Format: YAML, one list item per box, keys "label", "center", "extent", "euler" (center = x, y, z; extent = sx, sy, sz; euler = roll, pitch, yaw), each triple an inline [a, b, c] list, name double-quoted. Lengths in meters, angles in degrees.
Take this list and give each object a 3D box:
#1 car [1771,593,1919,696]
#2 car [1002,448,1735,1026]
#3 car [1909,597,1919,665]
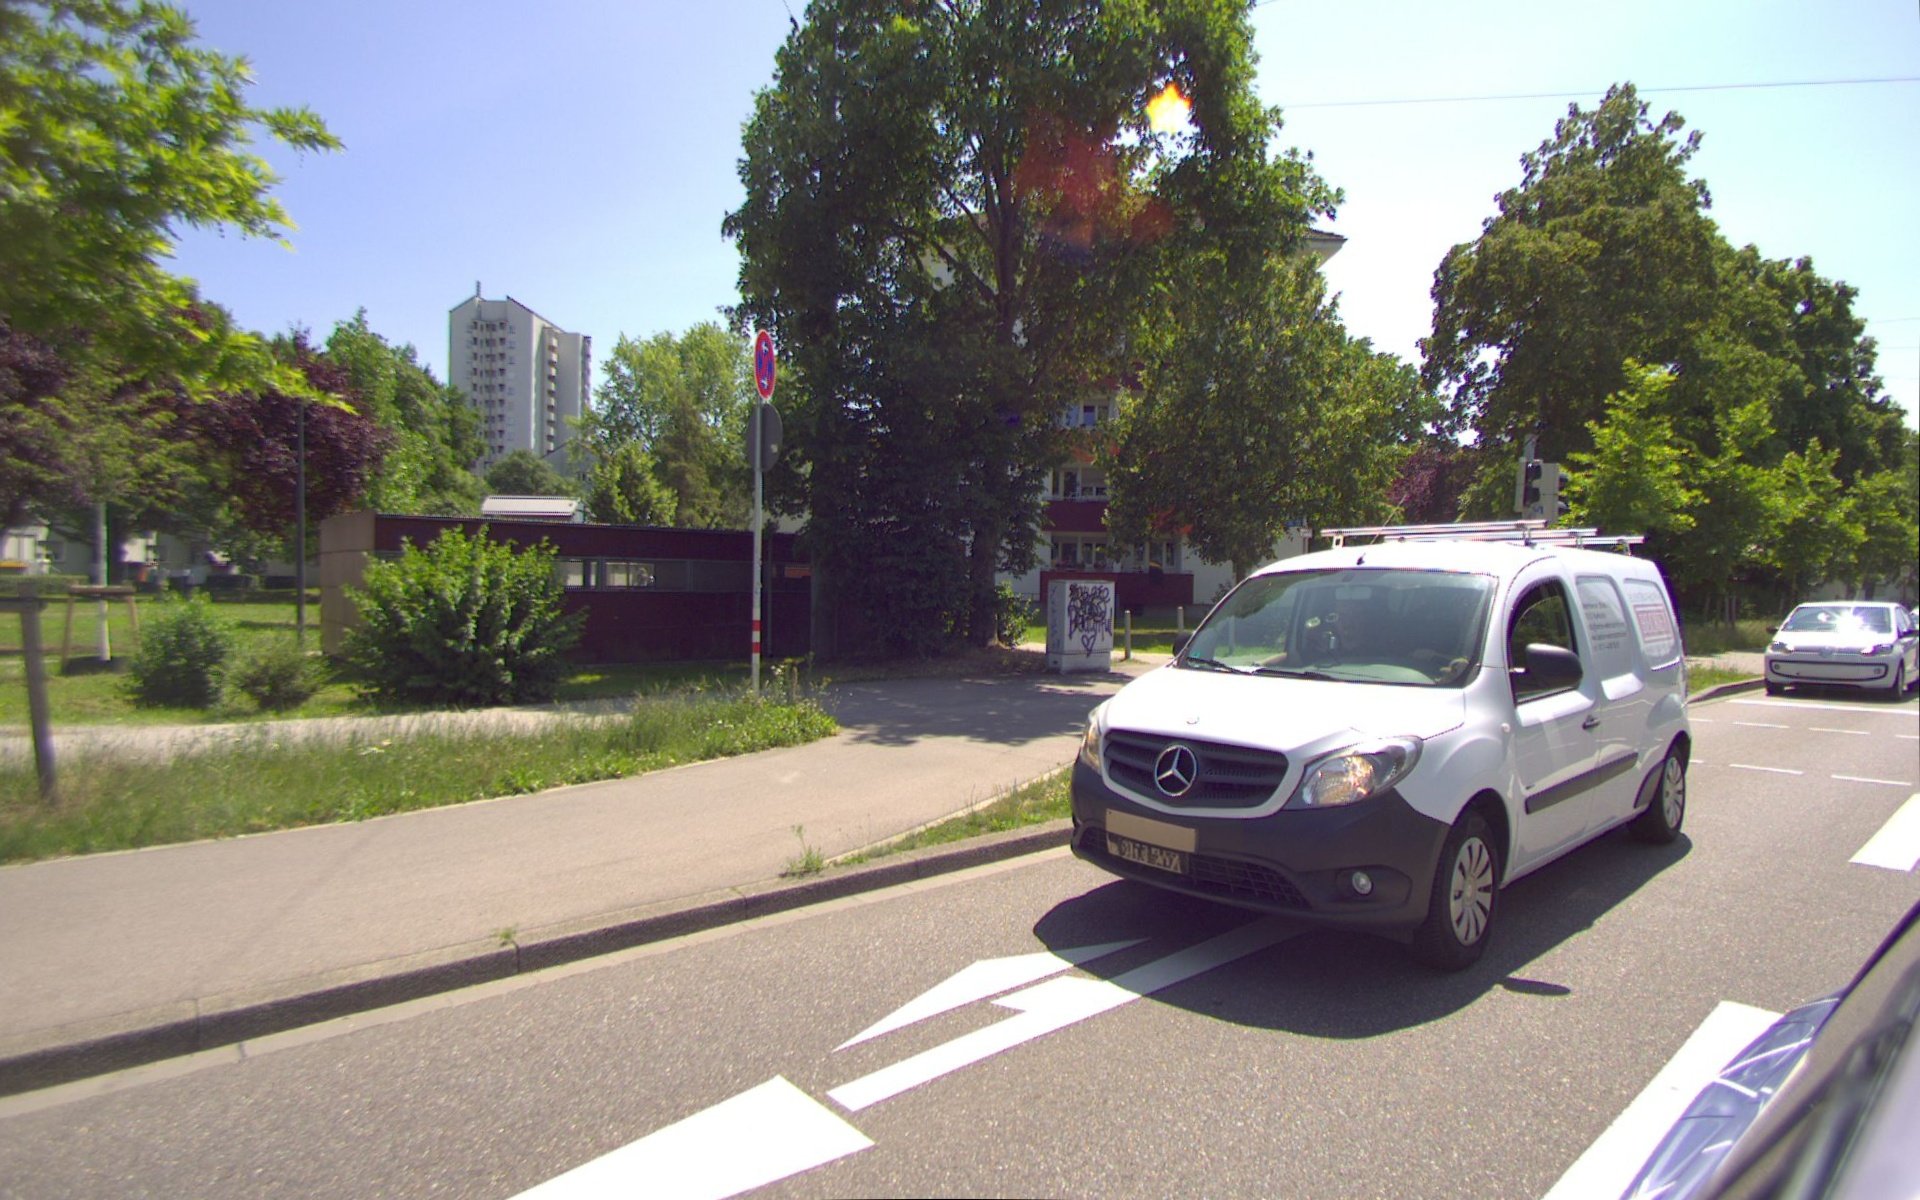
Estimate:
- label: "car"
  center: [14.368, 0.626, 16.182]
  extent: [3.438, 1.459, 1.624]
  euler: [0, 0, -41]
- label: "car"
  center: [2.641, 0.435, 5.652]
  extent: [4.995, 1.879, 1.807]
  euler: [0, 0, -42]
- label: "car"
  center: [21.542, 0.626, 21.432]
  extent: [4.041, 1.398, 1.617]
  euler: [0, 0, -40]
